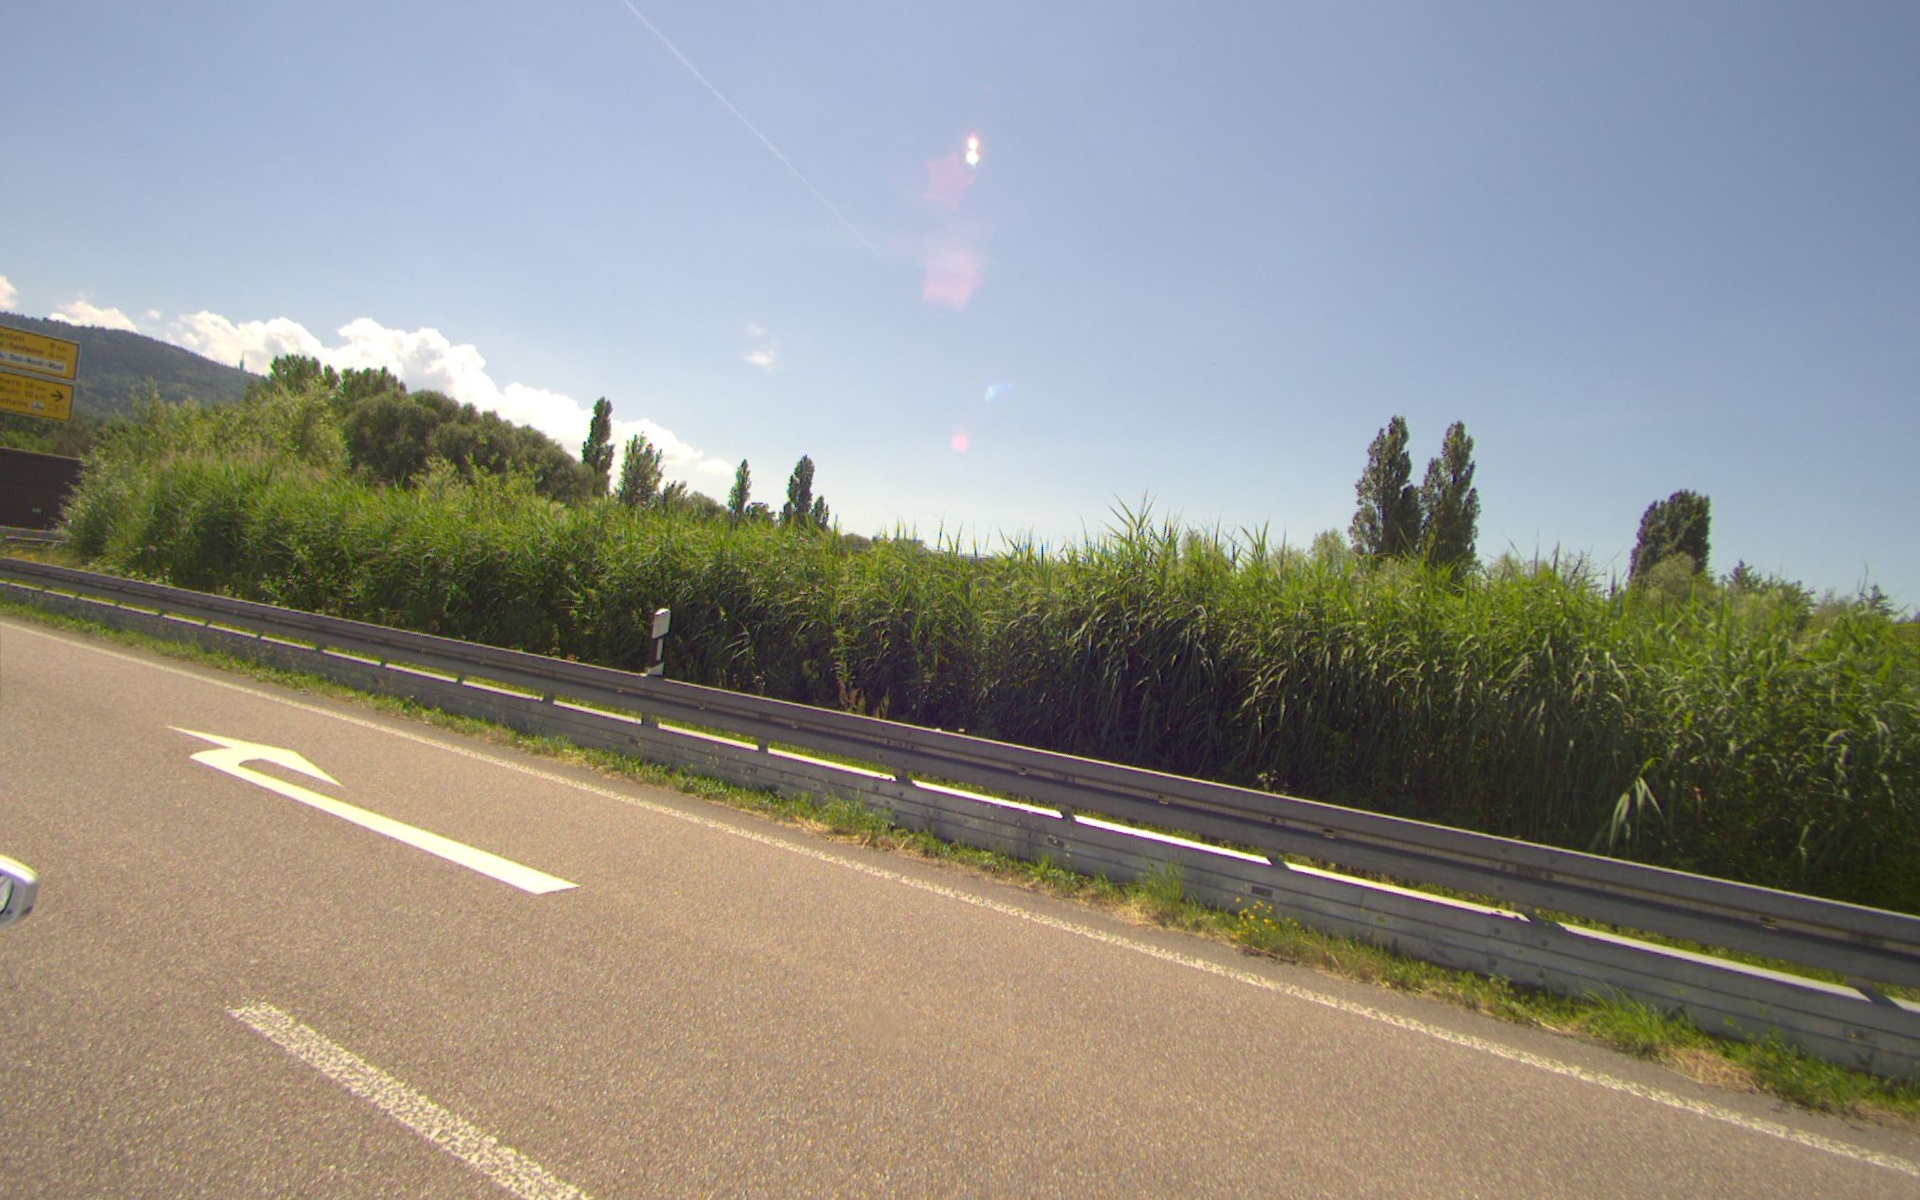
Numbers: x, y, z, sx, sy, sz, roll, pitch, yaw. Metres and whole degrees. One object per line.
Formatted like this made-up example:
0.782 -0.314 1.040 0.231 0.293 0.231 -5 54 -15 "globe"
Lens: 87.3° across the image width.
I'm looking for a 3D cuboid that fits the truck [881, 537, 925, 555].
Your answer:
-9.094 -8.599 160.037 6.553 2.255 2.623 6 -1 32 "truck"
